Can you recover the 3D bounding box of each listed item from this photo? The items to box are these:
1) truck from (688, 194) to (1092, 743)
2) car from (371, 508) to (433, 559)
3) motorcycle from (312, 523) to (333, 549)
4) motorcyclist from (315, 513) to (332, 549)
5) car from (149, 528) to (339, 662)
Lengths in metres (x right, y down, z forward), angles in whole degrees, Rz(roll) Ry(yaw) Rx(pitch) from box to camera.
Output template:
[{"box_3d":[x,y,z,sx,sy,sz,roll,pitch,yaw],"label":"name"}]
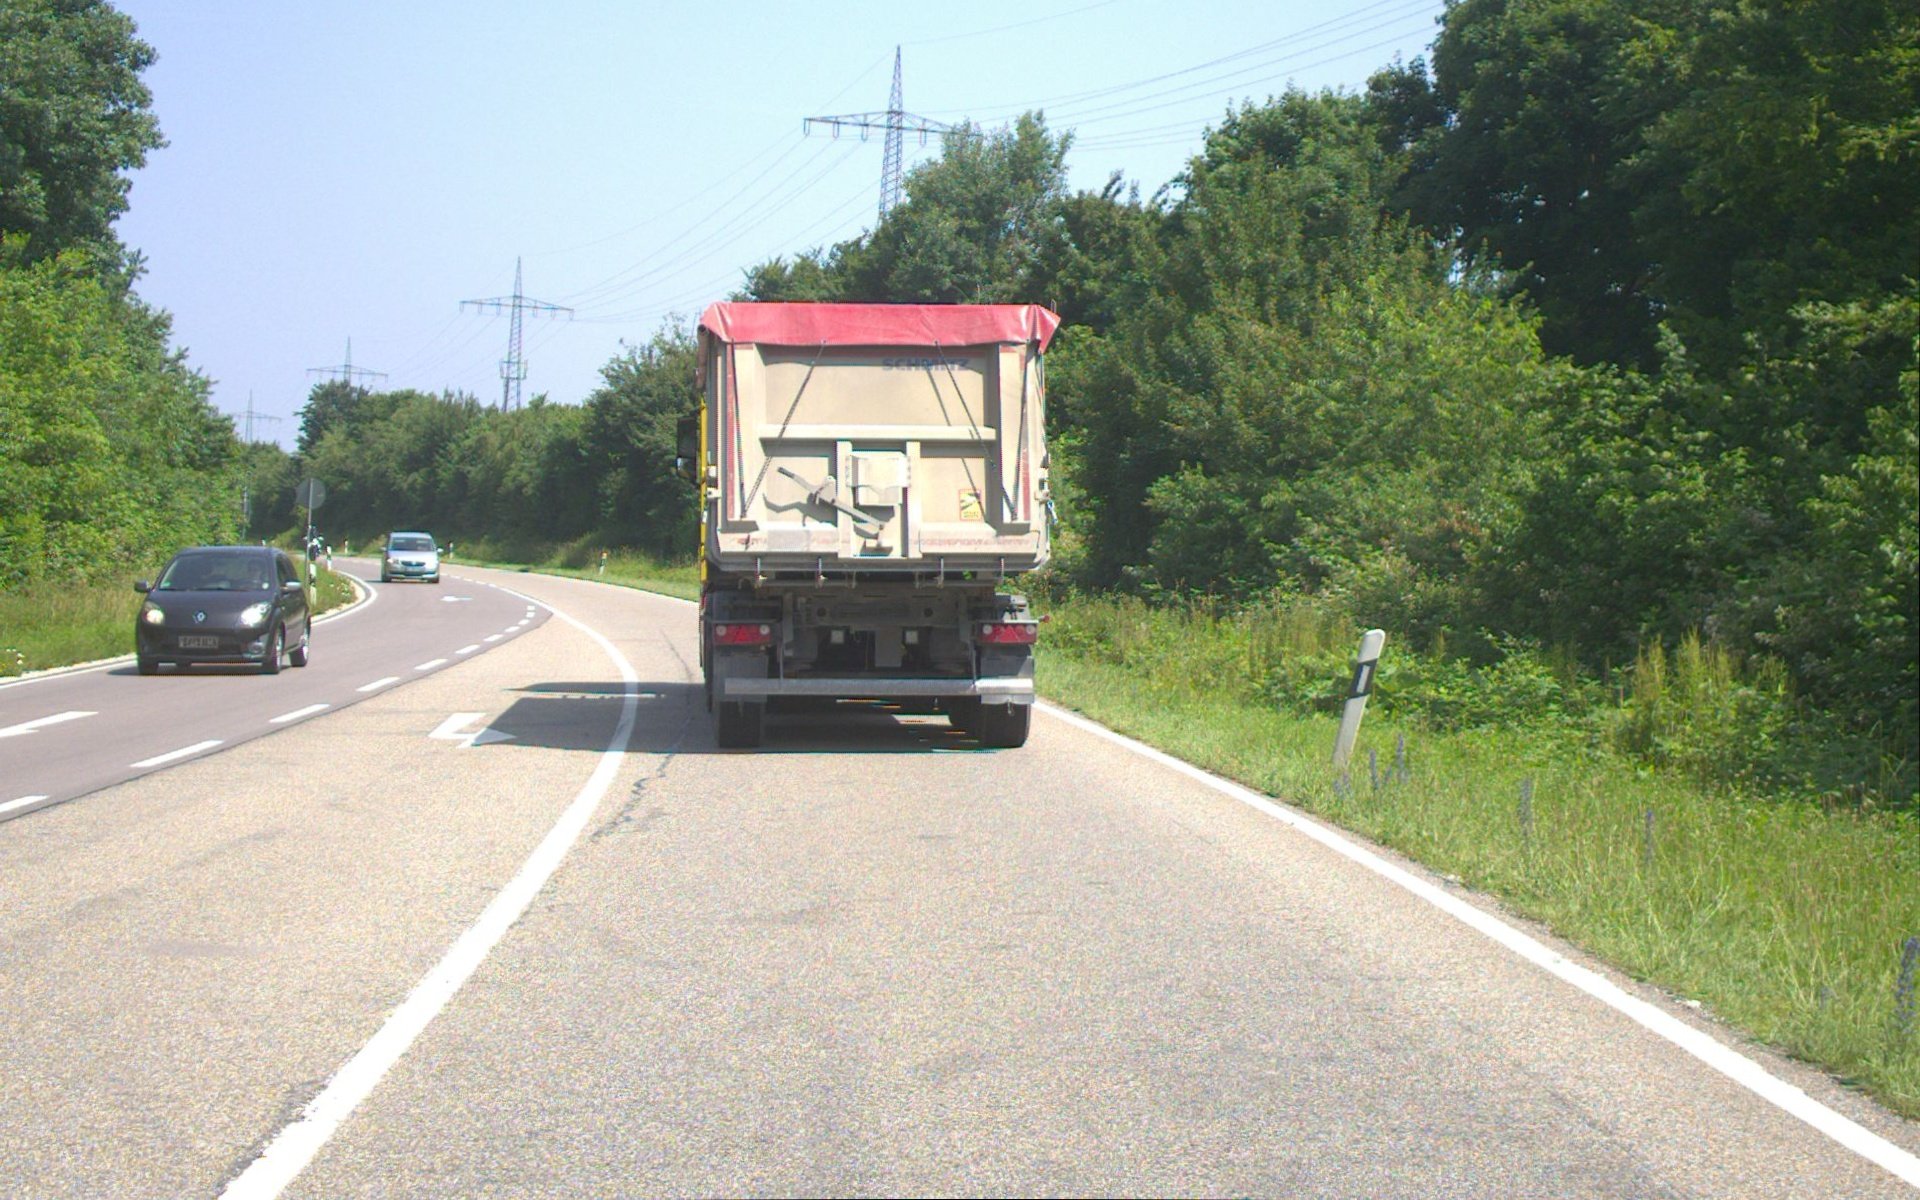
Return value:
[{"box_3d":[-0.959,-1.065,30.949,2.893,3.949,11.935,1,1,-4],"label":"truck"},{"box_3d":[-18.271,-2.165,112.757,1.802,1.631,4.213,1,1,-7],"label":"car"},{"box_3d":[-31.481,-3.161,169.794,0.946,1.246,2.683,1,1,-10],"label":"motorcycle"},{"box_3d":[-31.531,-3.414,170.315,0.830,1.746,0.623,1,1,-10],"label":"motorcyclist"},{"box_3d":[-8.380,-0.083,40.471,1.614,1.497,3.553,1,1,-2],"label":"car"}]
